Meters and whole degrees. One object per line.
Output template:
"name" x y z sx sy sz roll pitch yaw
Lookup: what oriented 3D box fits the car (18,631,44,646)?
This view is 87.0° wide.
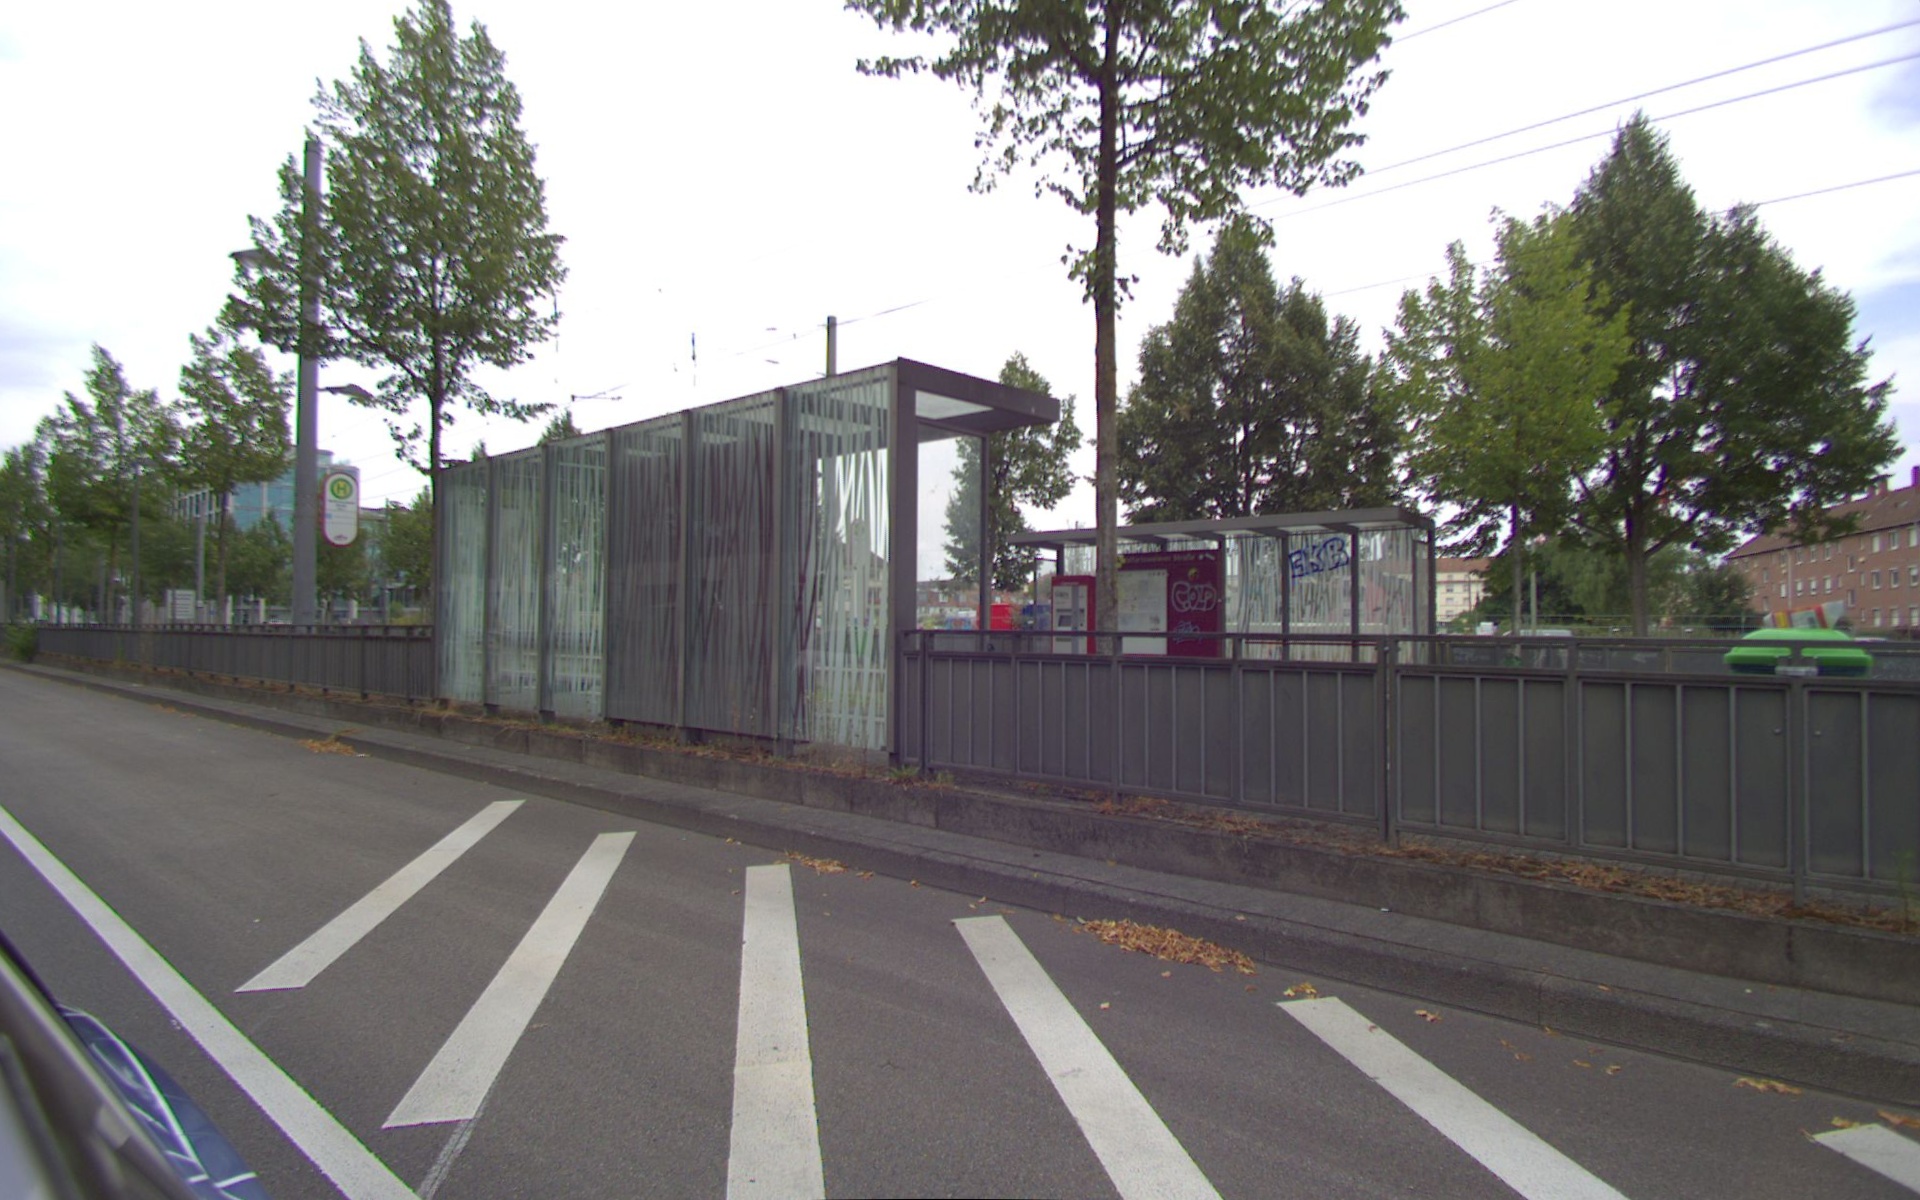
"car" -129.083 5.346 140.581 5.092 1.959 1.973 -2 -3 40

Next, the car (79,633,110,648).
"car" -98.542 4.567 115.153 4.686 1.669 1.809 -2 -3 39
